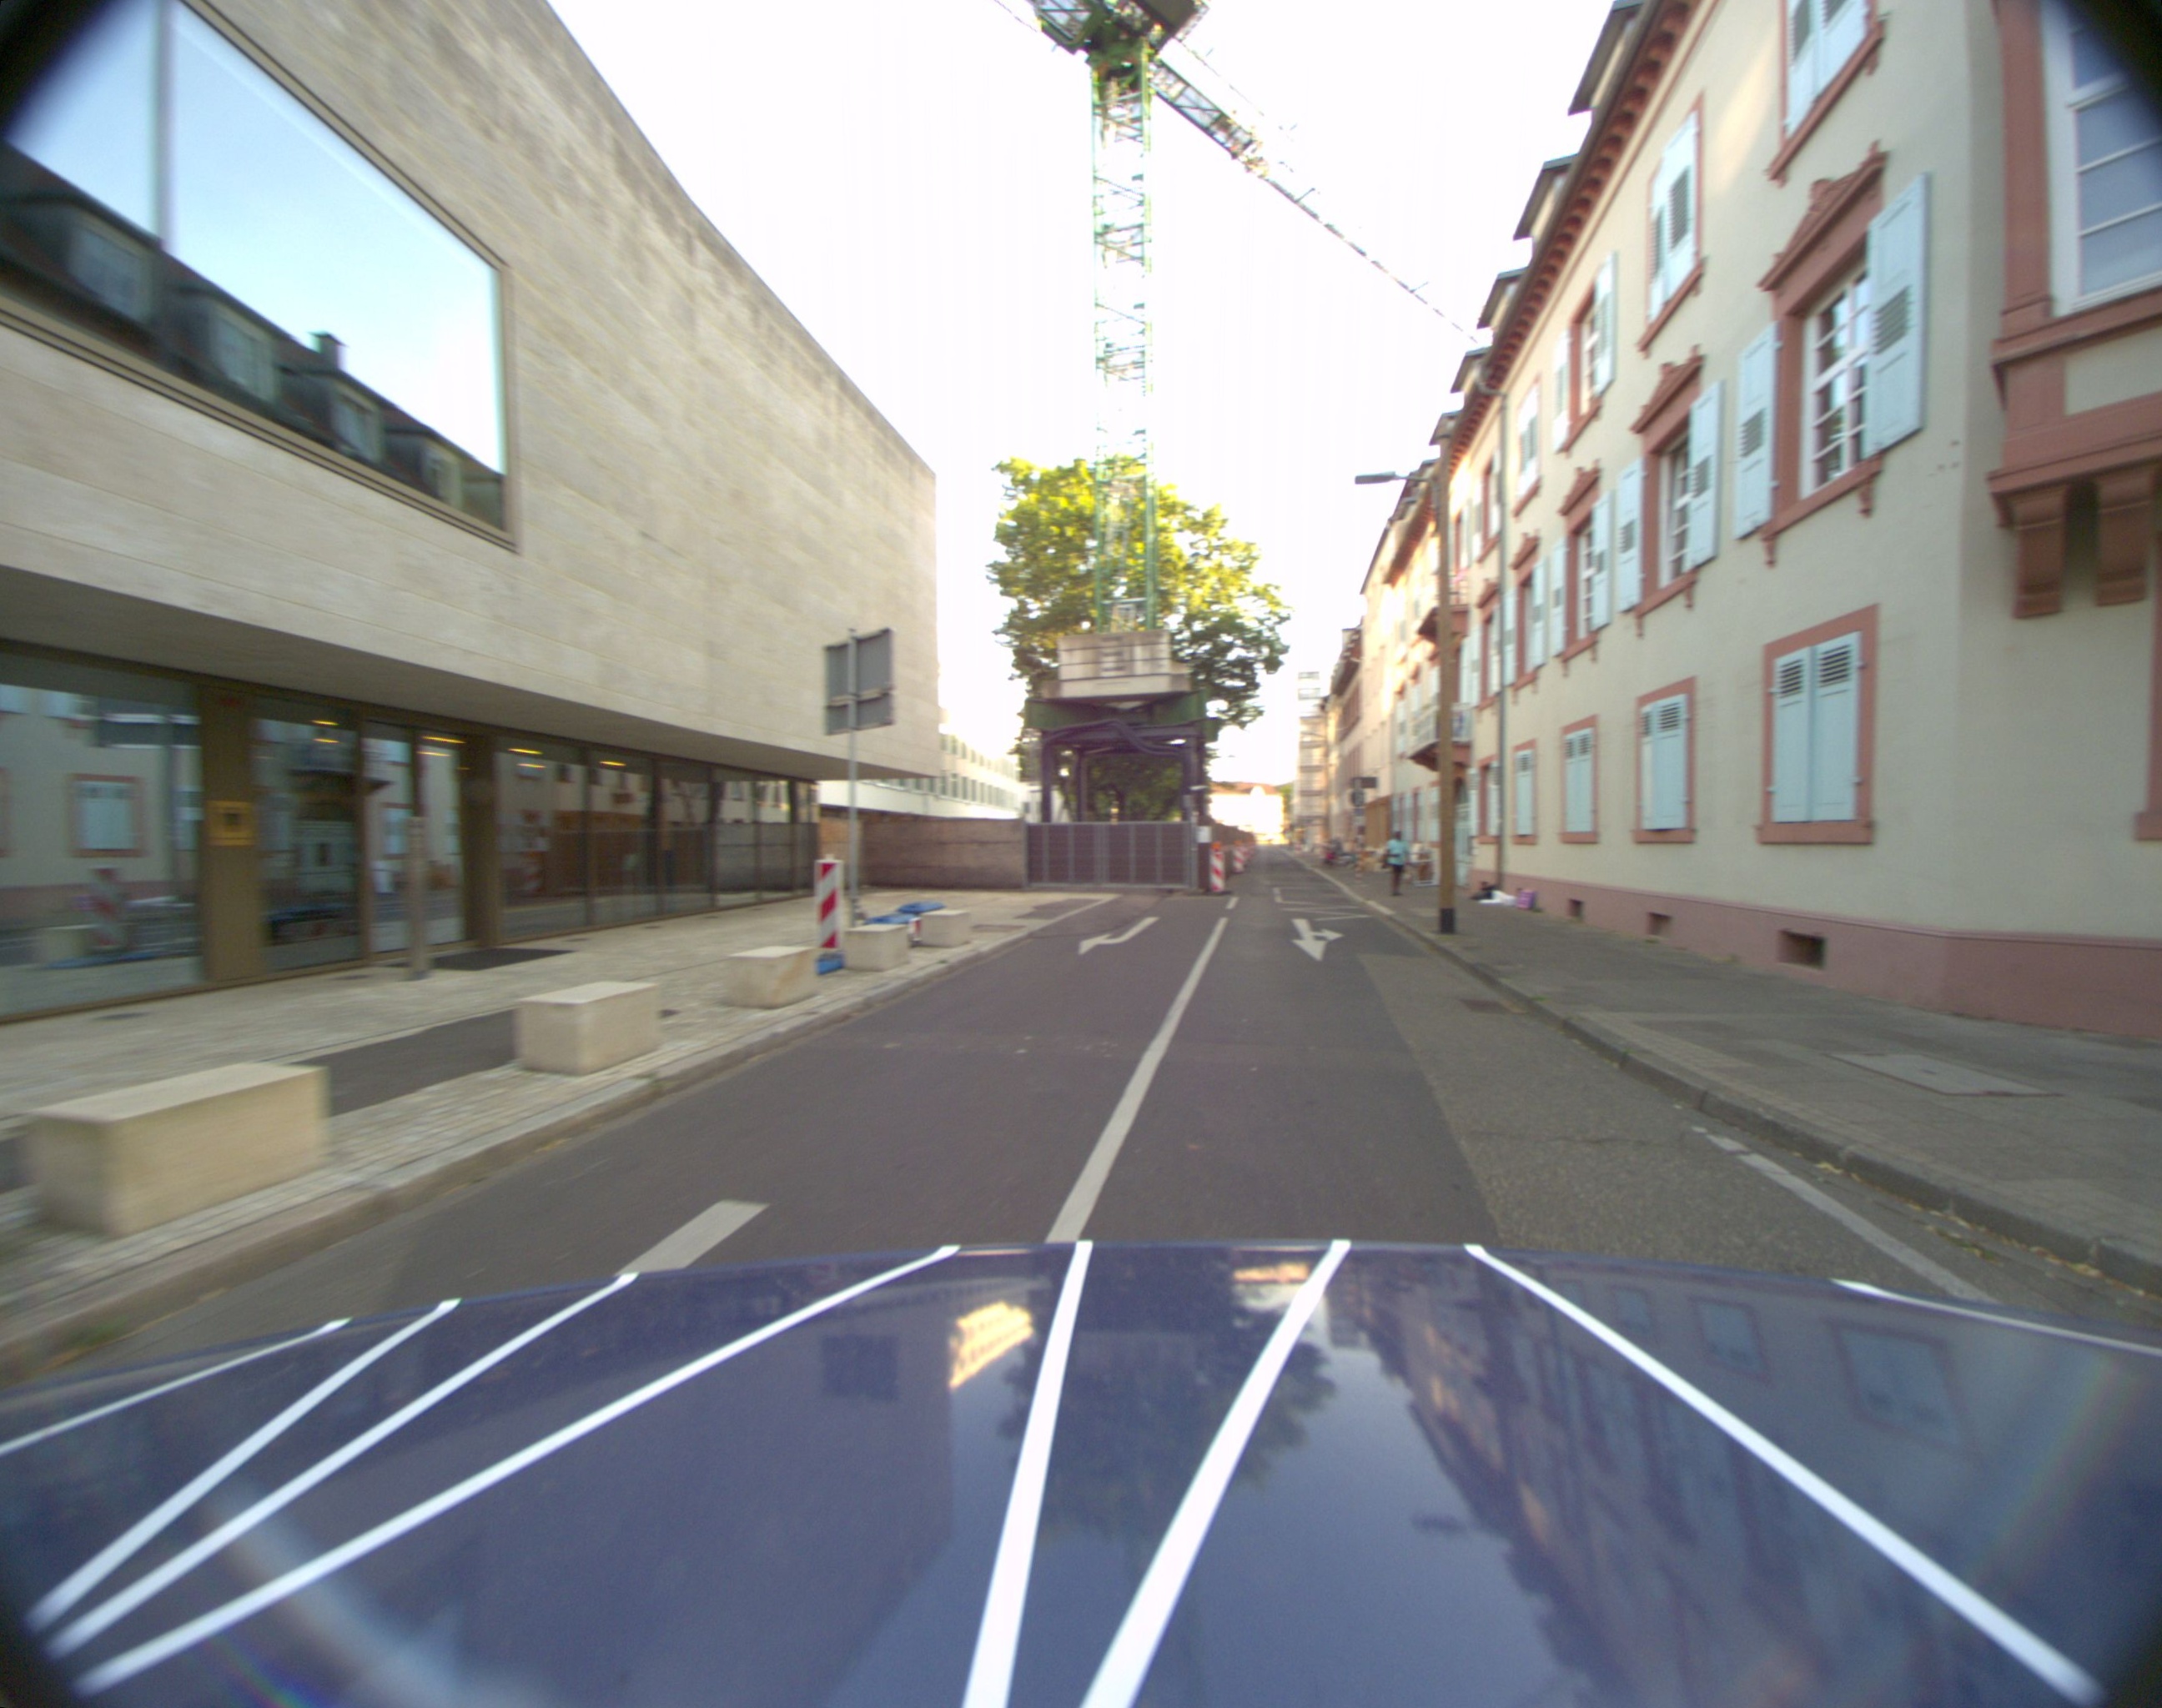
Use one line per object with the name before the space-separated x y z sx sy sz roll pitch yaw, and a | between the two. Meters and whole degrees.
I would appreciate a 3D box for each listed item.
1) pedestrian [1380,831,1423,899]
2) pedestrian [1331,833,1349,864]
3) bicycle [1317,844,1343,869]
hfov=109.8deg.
pedestrian | 8.268 0.280 19.615 0.825 1.687 0.649 -3 1 12
pedestrian | 14.035 -0.292 41.202 0.825 1.687 0.649 -1 1 12
bicycle | 11.993 0.127 36.594 0.658 1.163 1.611 0 2 39
